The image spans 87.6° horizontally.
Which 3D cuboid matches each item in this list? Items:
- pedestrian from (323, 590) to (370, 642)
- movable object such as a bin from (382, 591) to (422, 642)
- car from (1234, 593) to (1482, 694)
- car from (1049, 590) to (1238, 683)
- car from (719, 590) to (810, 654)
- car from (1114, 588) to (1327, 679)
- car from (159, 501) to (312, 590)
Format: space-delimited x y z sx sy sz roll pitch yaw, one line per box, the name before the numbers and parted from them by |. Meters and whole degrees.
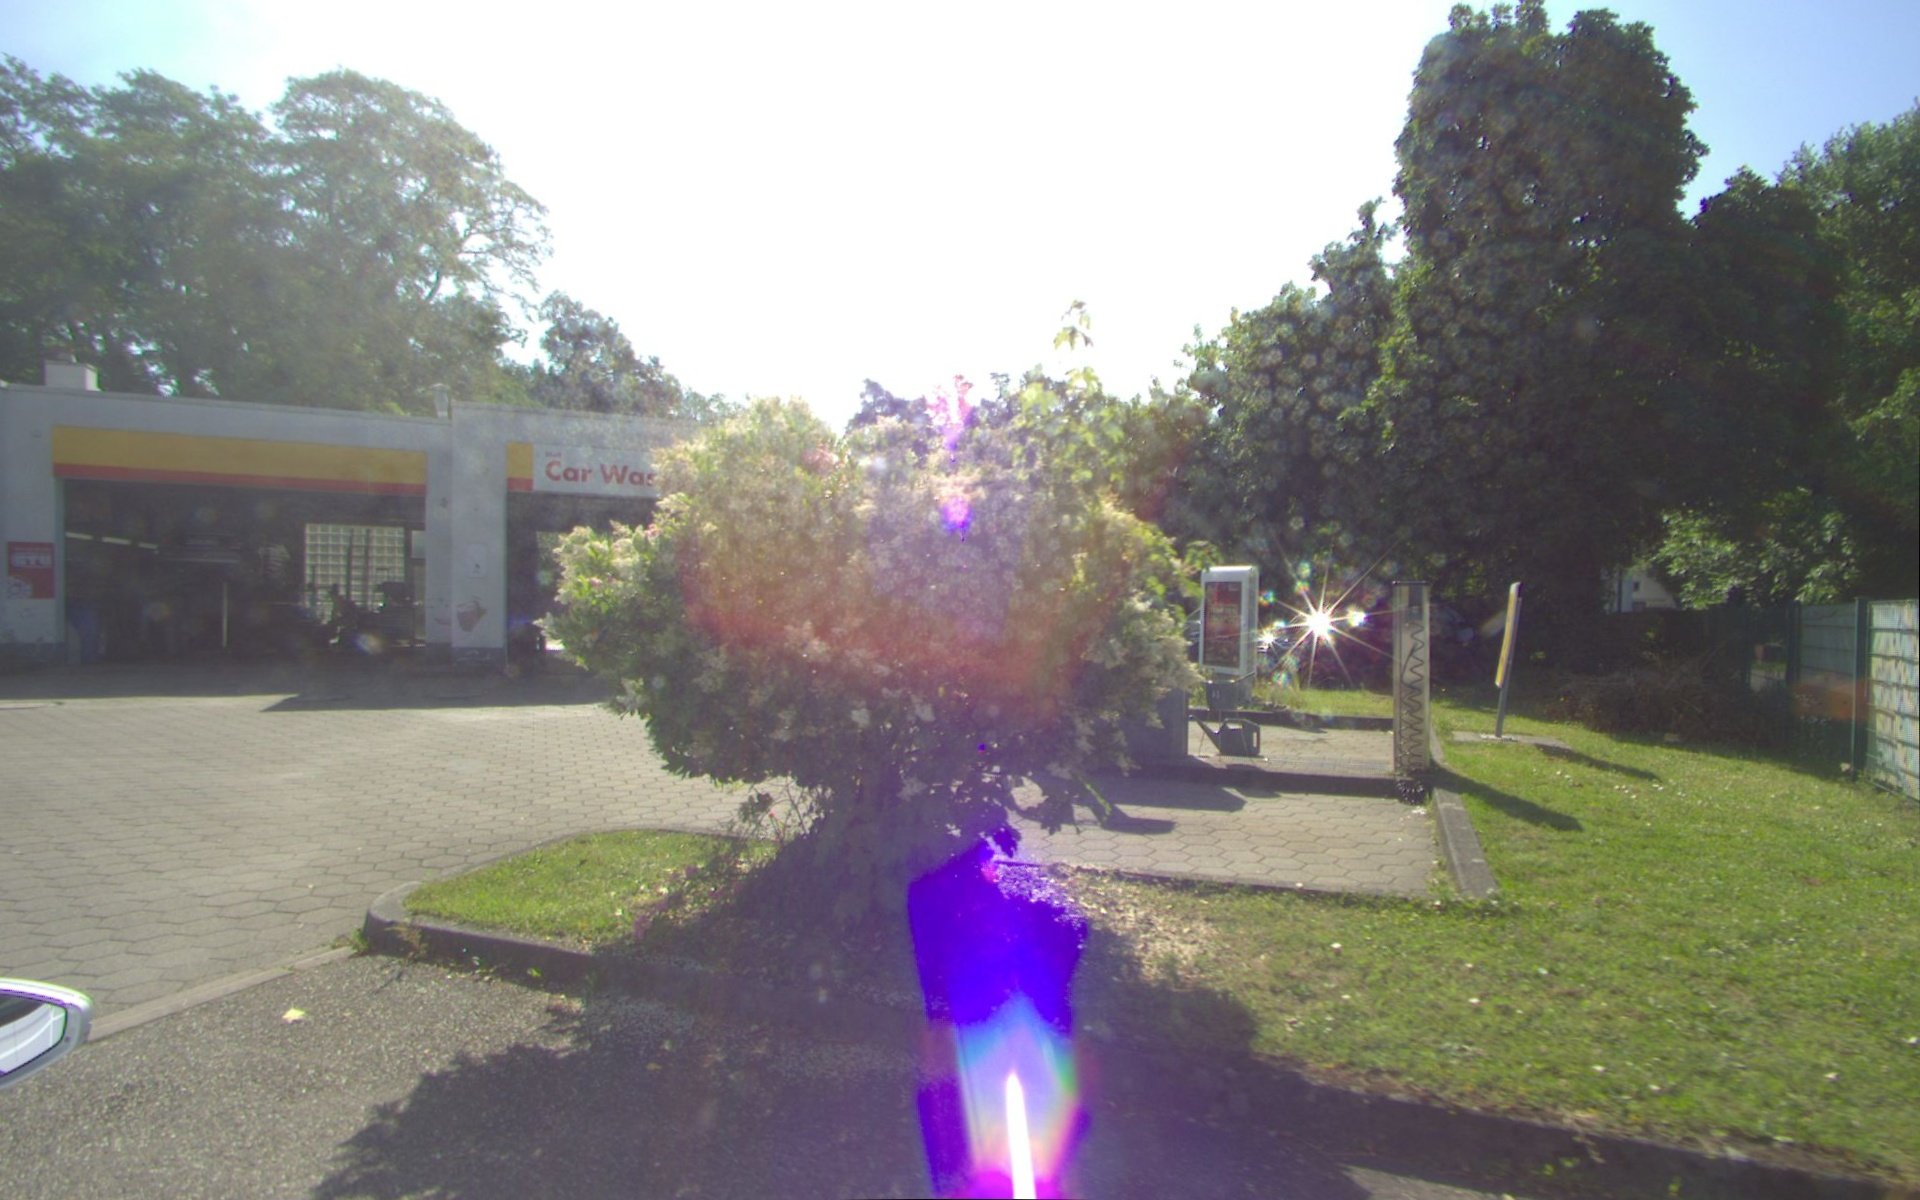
pedestrian | -14.689 0.397 23.993 0.852 1.213 0.740 0 -1 -24
movable object such as a bin | -13.811 0.415 24.812 0.786 1.252 0.543 0 -1 -22
car | 6.697 0.698 16.822 3.878 1.531 1.677 1 0 -26
car | 4.068 0.732 22.146 3.877 1.817 1.677 -2 1 -26
car | -5.325 0.611 26.981 1.699 1.595 3.381 0 -2 -24
car | 5.119 0.641 19.635 3.878 1.650 1.677 1 0 -26
car | -15.149 -1.058 21.163 1.624 1.505 3.990 0 -2 -21
